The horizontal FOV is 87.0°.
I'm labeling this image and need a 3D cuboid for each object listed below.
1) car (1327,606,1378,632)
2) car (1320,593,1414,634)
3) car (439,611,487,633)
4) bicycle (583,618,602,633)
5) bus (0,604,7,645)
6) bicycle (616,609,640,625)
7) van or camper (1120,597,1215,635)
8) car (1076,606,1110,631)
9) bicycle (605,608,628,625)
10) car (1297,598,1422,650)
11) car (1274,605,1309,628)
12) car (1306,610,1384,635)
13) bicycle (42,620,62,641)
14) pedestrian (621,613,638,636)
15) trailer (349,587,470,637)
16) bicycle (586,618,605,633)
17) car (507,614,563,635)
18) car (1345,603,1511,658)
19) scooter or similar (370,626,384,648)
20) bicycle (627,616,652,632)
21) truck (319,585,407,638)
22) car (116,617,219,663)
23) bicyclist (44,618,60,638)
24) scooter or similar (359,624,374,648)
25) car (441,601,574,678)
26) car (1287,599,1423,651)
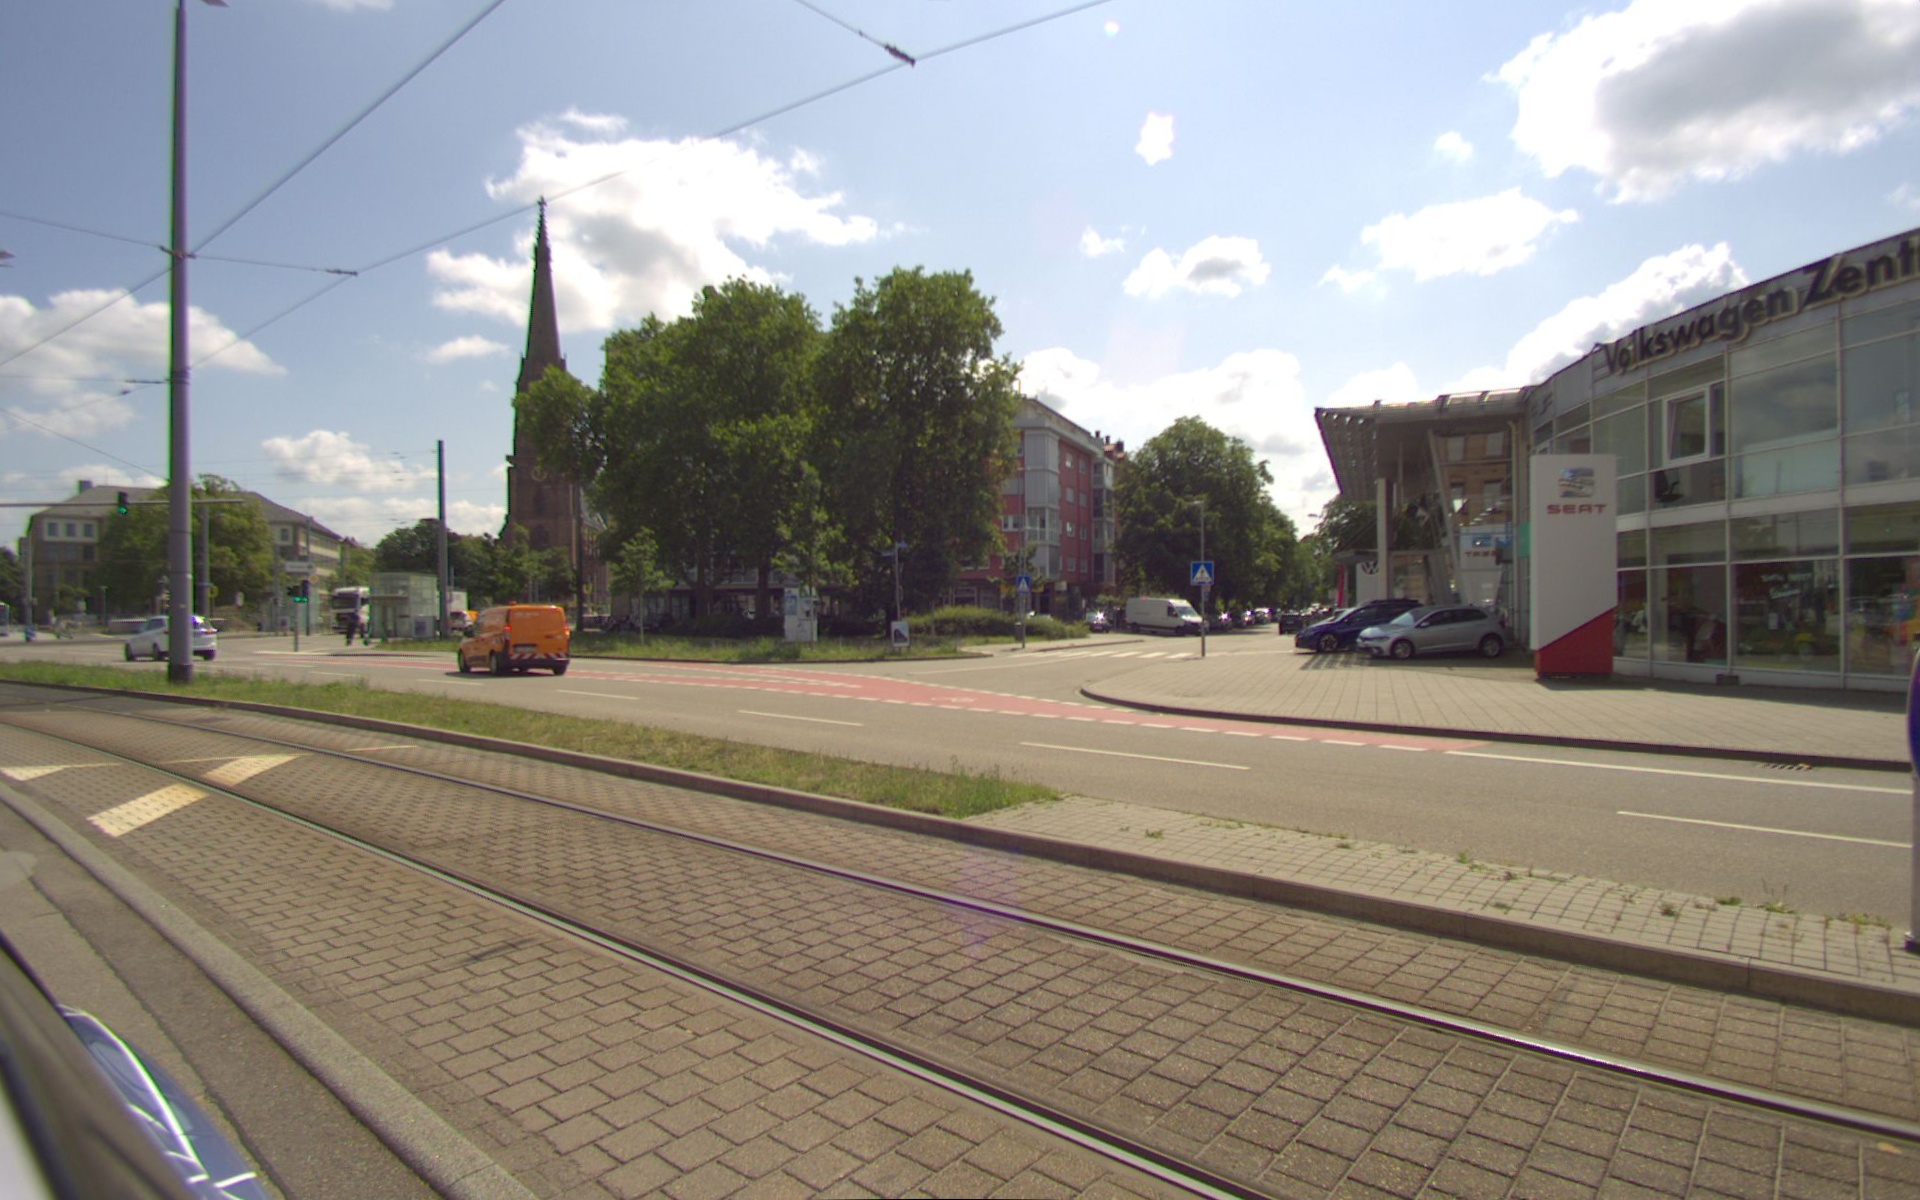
[{"bbox_3d":[26.406,1.289,67.961,1.999,1.630,3.946,-1,0,40],"label":"car"},{"bbox_3d":[18.298,0.611,45.631,3.837,1.787,1.689,-1,0,21],"label":"car"},{"bbox_3d":[-41.352,1.842,84.323,1.748,1.779,4.238,-1,-1,3],"label":"car"},{"bbox_3d":[-28.726,1.991,79.135,1.256,1.154,0.459,-2,-1,0],"label":"bicycle"},{"bbox_3d":[-85.310,2.194,88.339,2.908,3.473,7.952,-1,-1,-44],"label":"bus"},{"bbox_3d":[-24.703,1.251,75.373,1.581,1.176,0.493,-1,0,4],"label":"bicycle"},{"bbox_3d":[14.530,1.103,71.339,2.536,2.518,6.701,-1,0,-33],"label":"van or camper"},{"bbox_3d":[9.510,1.323,72.675,1.973,1.719,3.998,-1,0,2],"label":"car"},{"bbox_3d":[-26.800,1.317,78.892,1.581,1.274,0.493,-1,0,4],"label":"bicycle"},{"bbox_3d":[13.854,0.808,35.179,3.583,1.685,1.779,-1,0,-5],"label":"car"},{"bbox_3d":[24.641,1.210,75.098,1.989,1.696,3.966,-1,0,25],"label":"car"},{"bbox_3d":[20.284,1.180,53.461,3.601,1.255,1.552,-1,0,12],"label":"car"},{"bbox_3d":[-92.422,3.075,102.981,3.485,2.029,1.230,-2,0,44],"label":"bicycle"},{"bbox_3d":[-22.864,1.701,69.960,0.870,1.572,0.721,-2,-1,12],"label":"pedestrian"},{"bbox_3d":[-48.893,1.090,90.585,2.910,4.107,13.405,-1,-1,3],"label":"trailer"},{"bbox_3d":[-28.713,2.001,79.714,1.256,1.154,0.459,-2,-1,0],"label":"bicycle"},{"bbox_3d":[-35.974,2.078,85.676,4.105,1.655,1.633,-1,-1,-38],"label":"car"},{"bbox_3d":[13.456,0.853,29.272,3.890,1.457,1.836,-1,0,-1],"label":"car"},{"bbox_3d":[-30.006,1.914,52.124,0.555,1.133,0.412,-2,-1,33],"label":"scooter or similar"},{"bbox_3d":[-22.839,1.688,72.101,1.581,1.074,0.493,-1,0,4],"label":"bicycle"},{"bbox_3d":[-49.264,0.981,83.727,2.925,4.150,6.871,-1,-1,3],"label":"truck"},{"bbox_3d":[-29.394,1.466,37.490,4.481,1.616,1.752,-1,-1,34],"label":"car"},{"bbox_3d":[-92.408,2.823,102.960,1.320,2.029,1.110,-1,-1,43],"label":"bicyclist"},{"bbox_3d":[-30.202,1.832,51.526,0.548,1.209,0.457,-2,-1,33],"label":"scooter or similar"},{"bbox_3d":[-12.069,1.014,26.848,1.888,1.880,4.371,1,-2,-44],"label":"car"},{"bbox_3d":[12.553,0.797,32.387,3.747,1.485,1.654,-3,-1,11],"label":"car"}]
